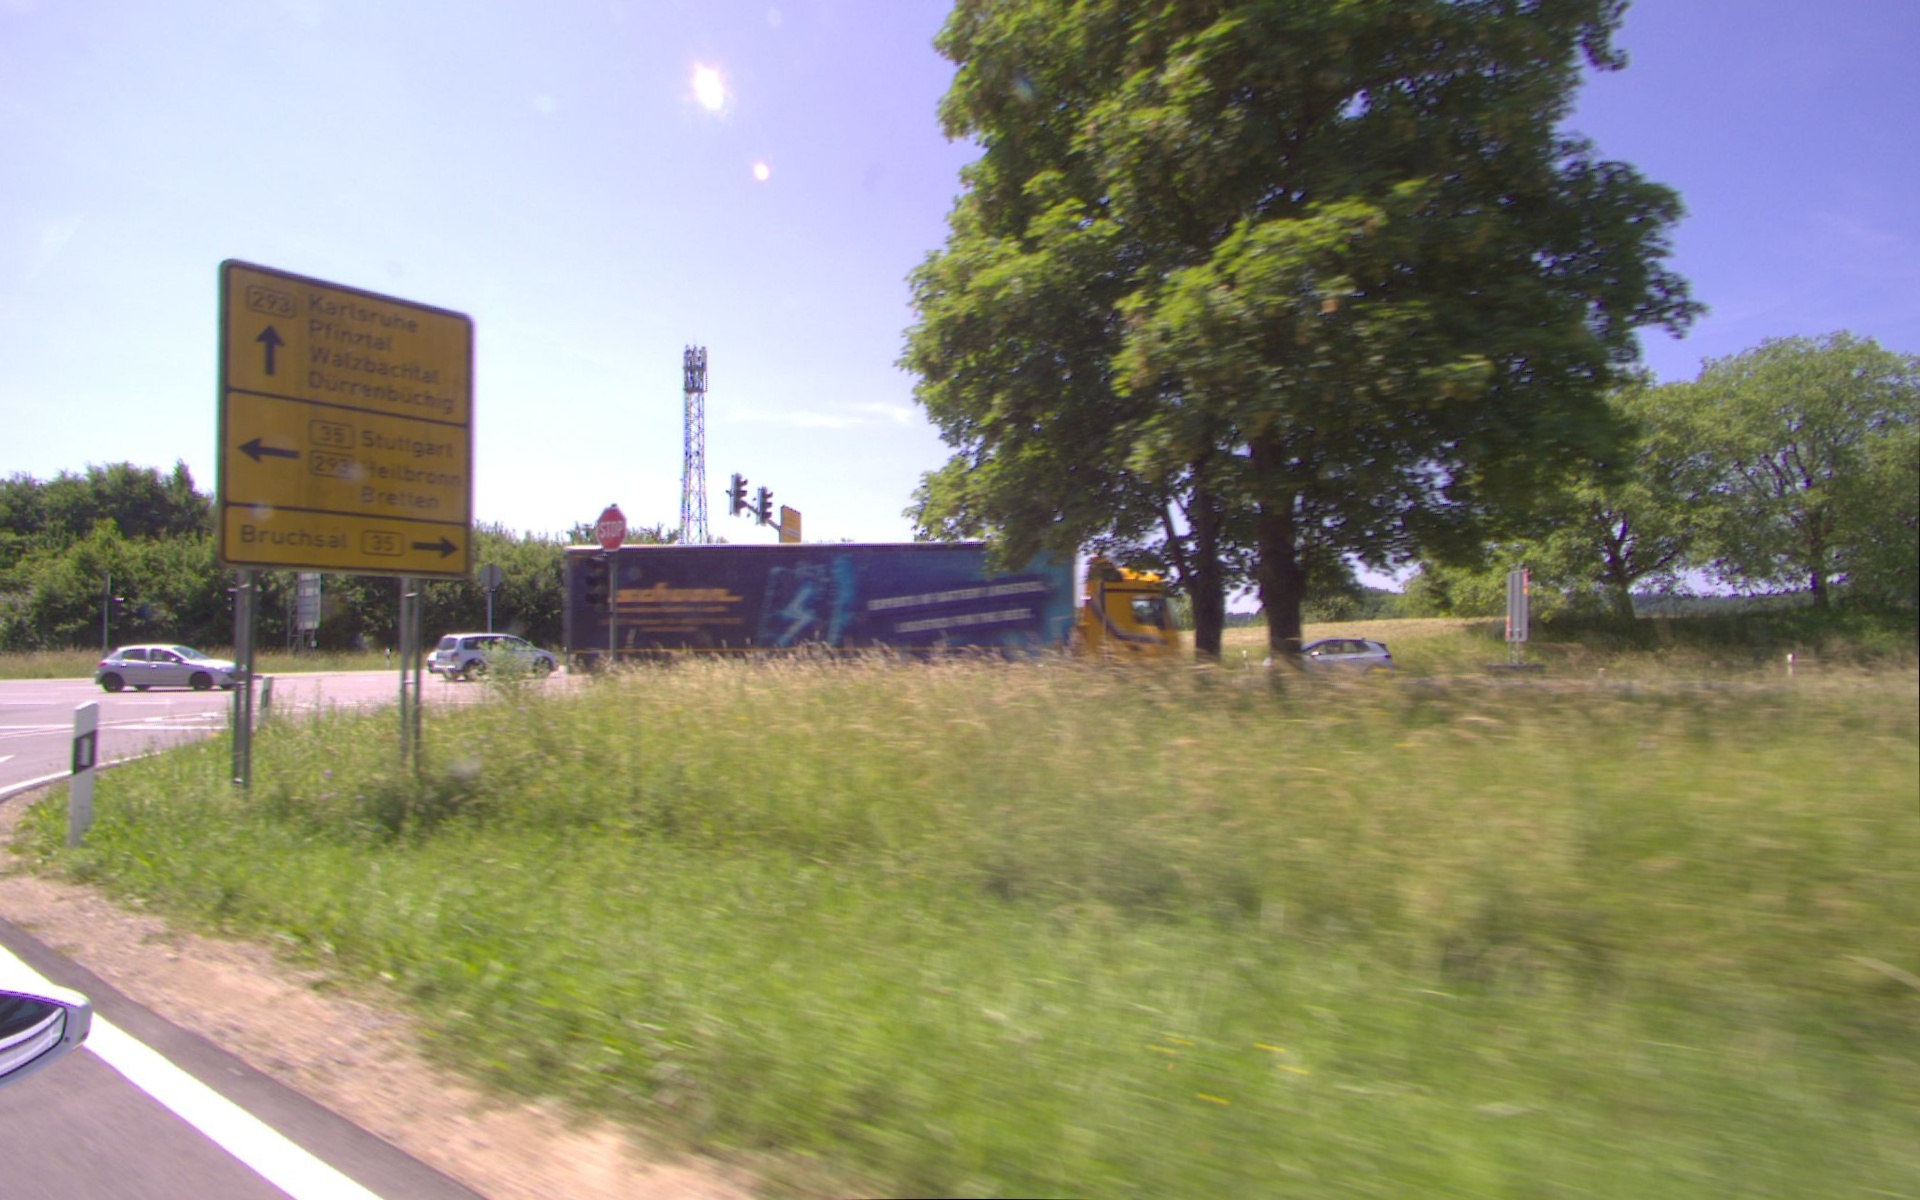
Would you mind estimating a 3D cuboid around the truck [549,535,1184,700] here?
[{"bbox_3d":[-2.476,0.476,27.248,16.483,4.184,2.853,0,-1,3],"label":"truck"}]

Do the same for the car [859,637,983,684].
[{"bbox_3d":[-1.292,2.038,34.319,4.089,1.489,1.729,0,0,4],"label":"car"}]

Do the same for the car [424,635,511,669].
[{"bbox_3d":[-21.978,2.292,44.816,1.541,1.388,3.528,0,-1,16],"label":"car"}]

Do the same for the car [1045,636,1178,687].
[{"bbox_3d":[5.044,2.023,33.604,4.298,1.573,1.729,0,0,7],"label":"car"}]

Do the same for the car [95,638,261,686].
[{"bbox_3d":[-24.606,1.926,31.633,3.713,1.431,1.817,0,-1,-11],"label":"car"}]

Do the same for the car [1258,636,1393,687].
[{"bbox_3d":[12.096,2.030,33.338,3.943,1.573,1.655,0,0,7],"label":"car"}]

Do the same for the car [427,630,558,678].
[{"bbox_3d":[-17.187,1.948,36.930,1.797,1.646,4.028,-2,-2,40],"label":"car"}]
